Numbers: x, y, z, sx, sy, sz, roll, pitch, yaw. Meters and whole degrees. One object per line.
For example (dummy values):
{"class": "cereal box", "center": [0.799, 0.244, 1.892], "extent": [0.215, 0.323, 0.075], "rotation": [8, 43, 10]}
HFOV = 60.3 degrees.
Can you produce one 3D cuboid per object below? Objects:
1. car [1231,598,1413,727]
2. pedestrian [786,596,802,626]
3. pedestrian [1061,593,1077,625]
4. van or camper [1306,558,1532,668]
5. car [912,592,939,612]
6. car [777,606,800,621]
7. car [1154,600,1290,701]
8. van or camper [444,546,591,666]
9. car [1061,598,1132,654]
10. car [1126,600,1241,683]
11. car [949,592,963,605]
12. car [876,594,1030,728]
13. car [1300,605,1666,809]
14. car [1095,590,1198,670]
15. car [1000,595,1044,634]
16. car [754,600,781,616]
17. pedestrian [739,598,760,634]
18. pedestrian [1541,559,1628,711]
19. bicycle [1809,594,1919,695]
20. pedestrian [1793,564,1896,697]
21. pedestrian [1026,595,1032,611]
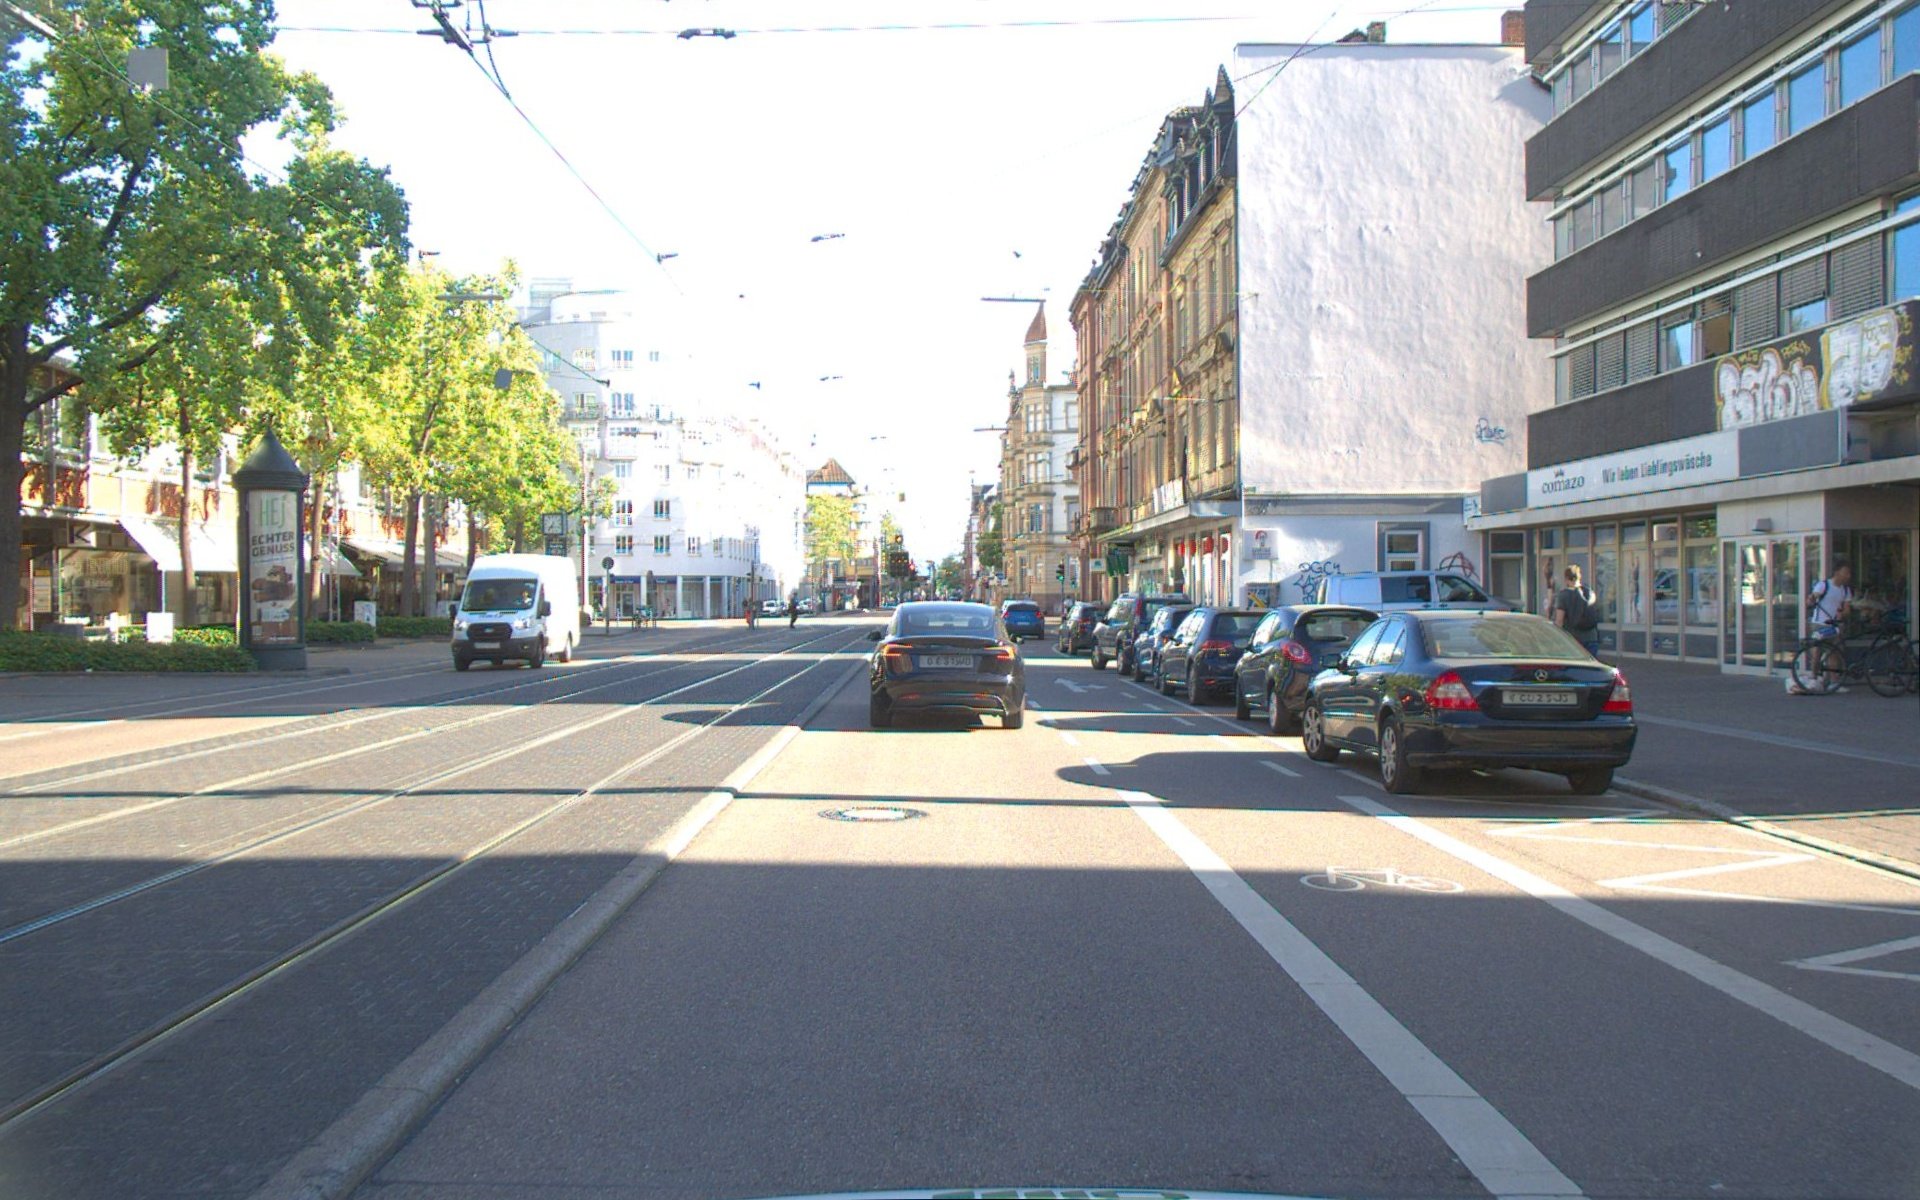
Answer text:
{"class": "car", "center": [4.417, 0.734, 20.607], "extent": [1.546, 1.472, 3.309], "rotation": [0, -1, 0]}
{"class": "pedestrian", "center": [-8.335, 0.546, 83.122], "extent": [0.687, 1.528, 0.795], "rotation": [0, 0, 0]}
{"class": "pedestrian", "center": [5.676, 0.468, 86.279], "extent": [0.734, 1.645, 0.705], "rotation": [-1, 0, -3]}
{"class": "van or camper", "center": [10.382, 0.298, 37.689], "extent": [4.547, 2.173, 1.988], "rotation": [-3, 0, 3]}
{"class": "car", "center": [-2.882, 0.173, 138.558], "extent": [1.955, 1.552, 3.995], "rotation": [1, -1, -5]}
{"class": "car", "center": [-17.793, 1.398, 171.648], "extent": [1.953, 1.521, 3.999], "rotation": [-1, 0, -1]}
{"class": "car", "center": [4.044, 0.756, 25.986], "extent": [1.432, 1.457, 3.812], "rotation": [0, -1, -2]}
{"class": "van or camper", "center": [-10.830, 0.136, 41.036], "extent": [2.097, 2.700, 6.876], "rotation": [-1, 0, -3]}
{"class": "car", "center": [3.836, 0.700, 47.014], "extent": [1.680, 1.498, 3.719], "rotation": [-1, 0, 0]}
{"class": "car", "center": [4.156, 0.756, 31.259], "extent": [1.547, 1.469, 3.912], "rotation": [0, -1, -2]}
{"class": "car", "center": [-0.538, -0.216, 219.821], "extent": [1.808, 1.620, 4.000], "rotation": [-2, 0, 0]}
{"class": "car", "center": [-0.141, 0.665, 20.042], "extent": [1.685, 1.430, 3.708], "rotation": [1, 1, -2]}
{"class": "car", "center": [4.329, 0.800, 14.472], "extent": [1.676, 1.482, 4.549], "rotation": [0, 0, -1]}
{"class": "car", "center": [4.032, 0.643, 36.290], "extent": [1.792, 1.656, 4.095], "rotation": [0, -1, 0]}
{"class": "car", "center": [2.405, 0.558, 64.868], "extent": [1.561, 1.458, 3.686], "rotation": [-2, 0, 0]}
{"class": "car", "center": [-17.069, 0.702, 146.525], "extent": [1.953, 1.392, 3.999], "rotation": [-1, 0, -1]}
{"class": "pedestrian", "center": [-10.214, 0.755, 80.222], "extent": [0.826, 1.725, 0.797], "rotation": [1, 0, 6]}
{"class": "pedestrian", "center": [7.815, 0.429, 20.734], "extent": [0.707, 1.843, 0.889], "rotation": [-1, 0, -1]}
{"class": "bicycle", "center": [12.180, 0.560, 21.829], "extent": [2.156, 1.240, 0.795], "rotation": [-1, 0, -34]}
{"class": "pedestrian", "center": [12.059, 0.397, 22.596], "extent": [1.130, 1.759, 1.043], "rotation": [-1, 1, 24]}
{"class": "pedestrian", "center": [5.418, 0.216, 129.462], "extent": [0.432, 1.242, 0.389], "rotation": [-1, 0, -2]}
